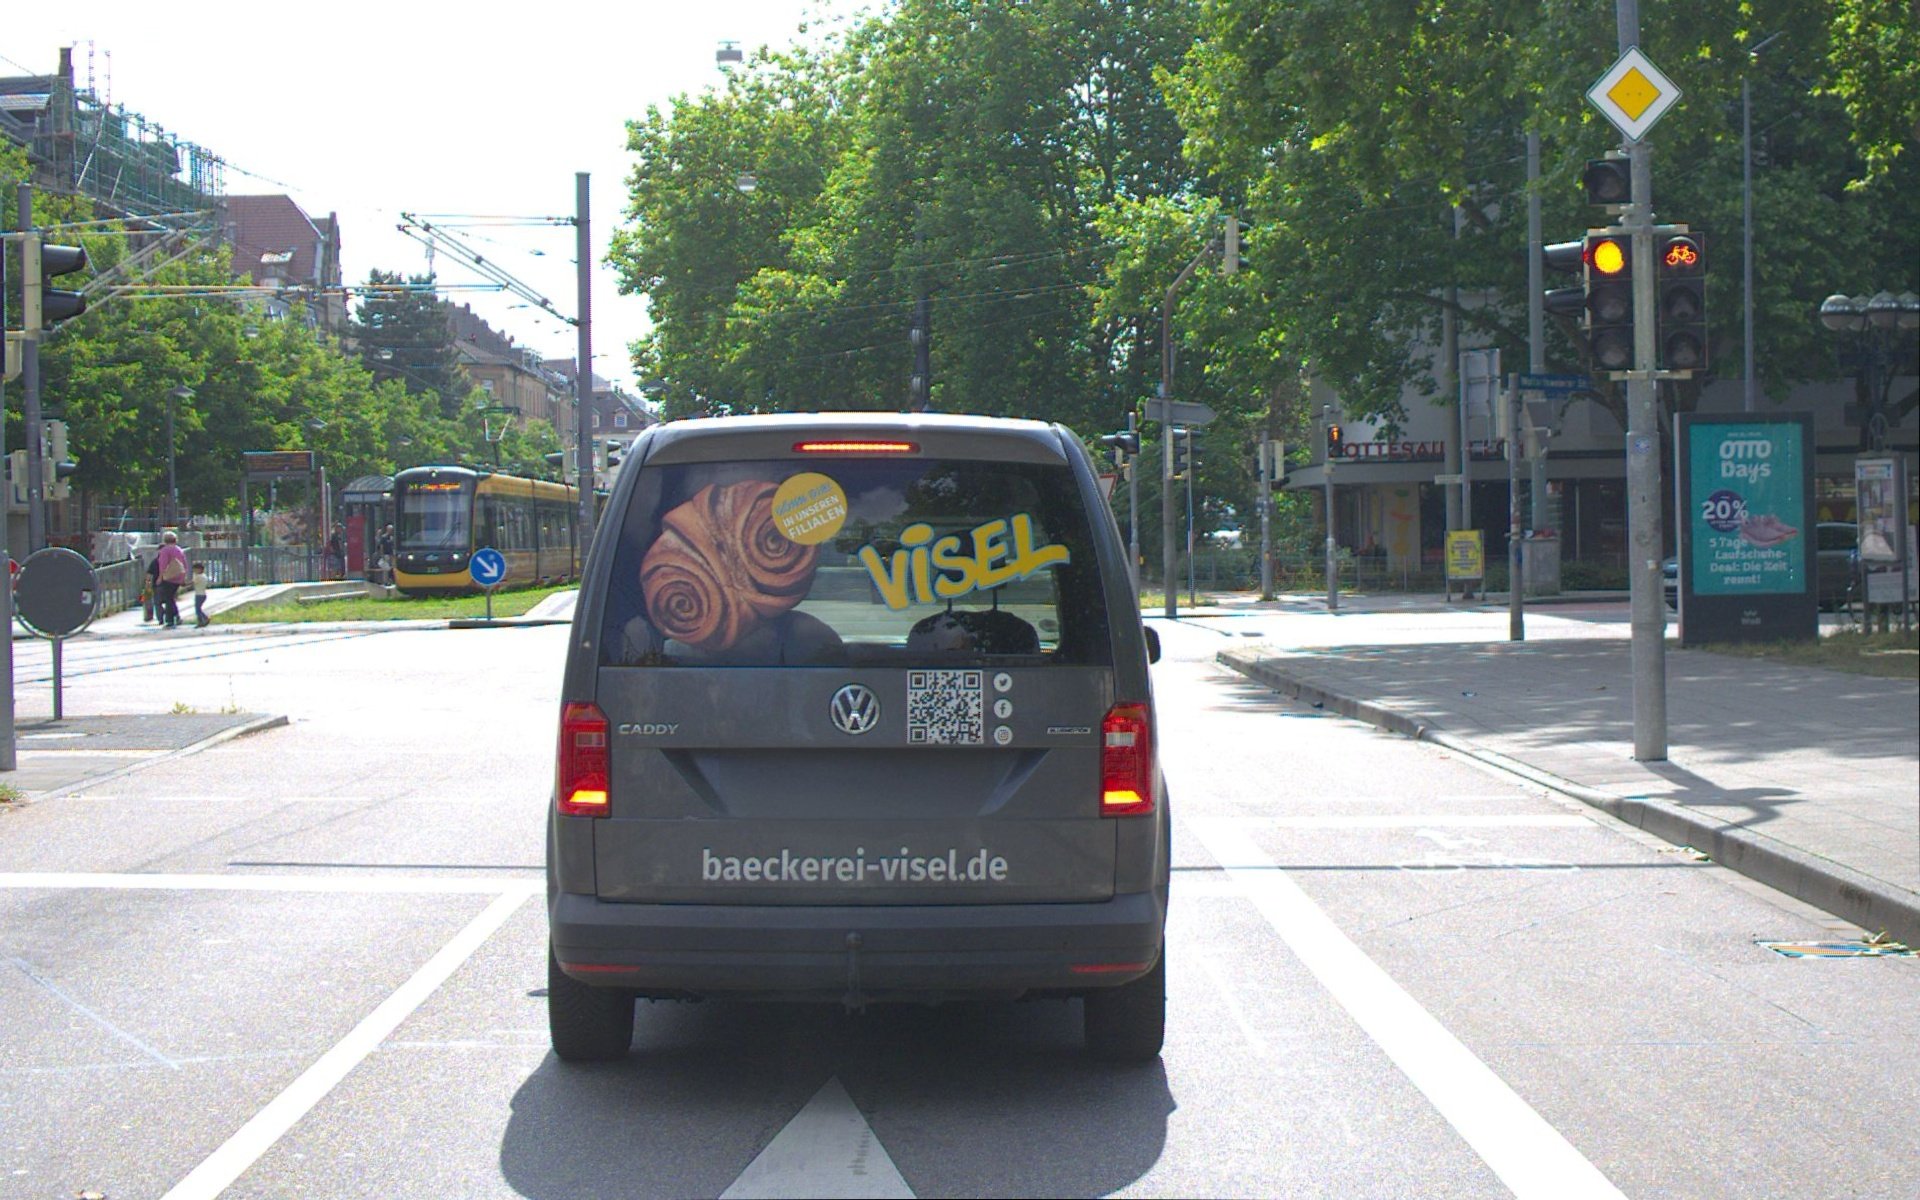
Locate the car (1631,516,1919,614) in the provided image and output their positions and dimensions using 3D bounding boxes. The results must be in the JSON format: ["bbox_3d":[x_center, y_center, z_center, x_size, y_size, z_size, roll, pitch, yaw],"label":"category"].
[{"bbox_3d":[12.825,-0.558,53.547,4.480,1.385,1.707,-2,1,-24],"label":"car"}]

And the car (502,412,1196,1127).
[{"bbox_3d":[-0.294,0.391,10.442,1.750,1.802,3.475,0,1,0],"label":"car"}]

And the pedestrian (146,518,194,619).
[{"bbox_3d":[-14.068,-0.571,61.229,0.659,1.778,0.660,-1,1,0],"label":"pedestrian"}]

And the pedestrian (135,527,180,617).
[{"bbox_3d":[-15.148,-0.531,64.915,0.659,1.679,0.655,-1,1,0],"label":"pedestrian"}]

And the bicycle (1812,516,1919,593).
[{"bbox_3d":[13.246,-0.655,48.301,2.301,1.045,0.897,-1,1,-4],"label":"bicycle"}]

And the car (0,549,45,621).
[{"bbox_3d":[-28.026,-0.440,99.565,1.993,2.007,4.000,-1,1,-1],"label":"car"}]

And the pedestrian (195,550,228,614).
[{"bbox_3d":[-13.366,-0.324,61.408,0.463,1.140,0.435,-1,1,0],"label":"pedestrian"}]

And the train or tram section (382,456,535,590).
[{"bbox_3d":[-13.404,-2.088,92.933,2.240,3.320,12.972,-1,1,0],"label":"train or tram section"}]

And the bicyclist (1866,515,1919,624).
[{"bbox_3d":[13.379,-0.436,48.420,0.997,1.506,0.781,-1,1,-2],"label":"bicyclist"}]

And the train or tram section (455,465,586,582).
[{"bbox_3d":[-13.467,-2.379,106.404,2.240,3.320,14.014,-1,1,0],"label":"train or tram section"}]
